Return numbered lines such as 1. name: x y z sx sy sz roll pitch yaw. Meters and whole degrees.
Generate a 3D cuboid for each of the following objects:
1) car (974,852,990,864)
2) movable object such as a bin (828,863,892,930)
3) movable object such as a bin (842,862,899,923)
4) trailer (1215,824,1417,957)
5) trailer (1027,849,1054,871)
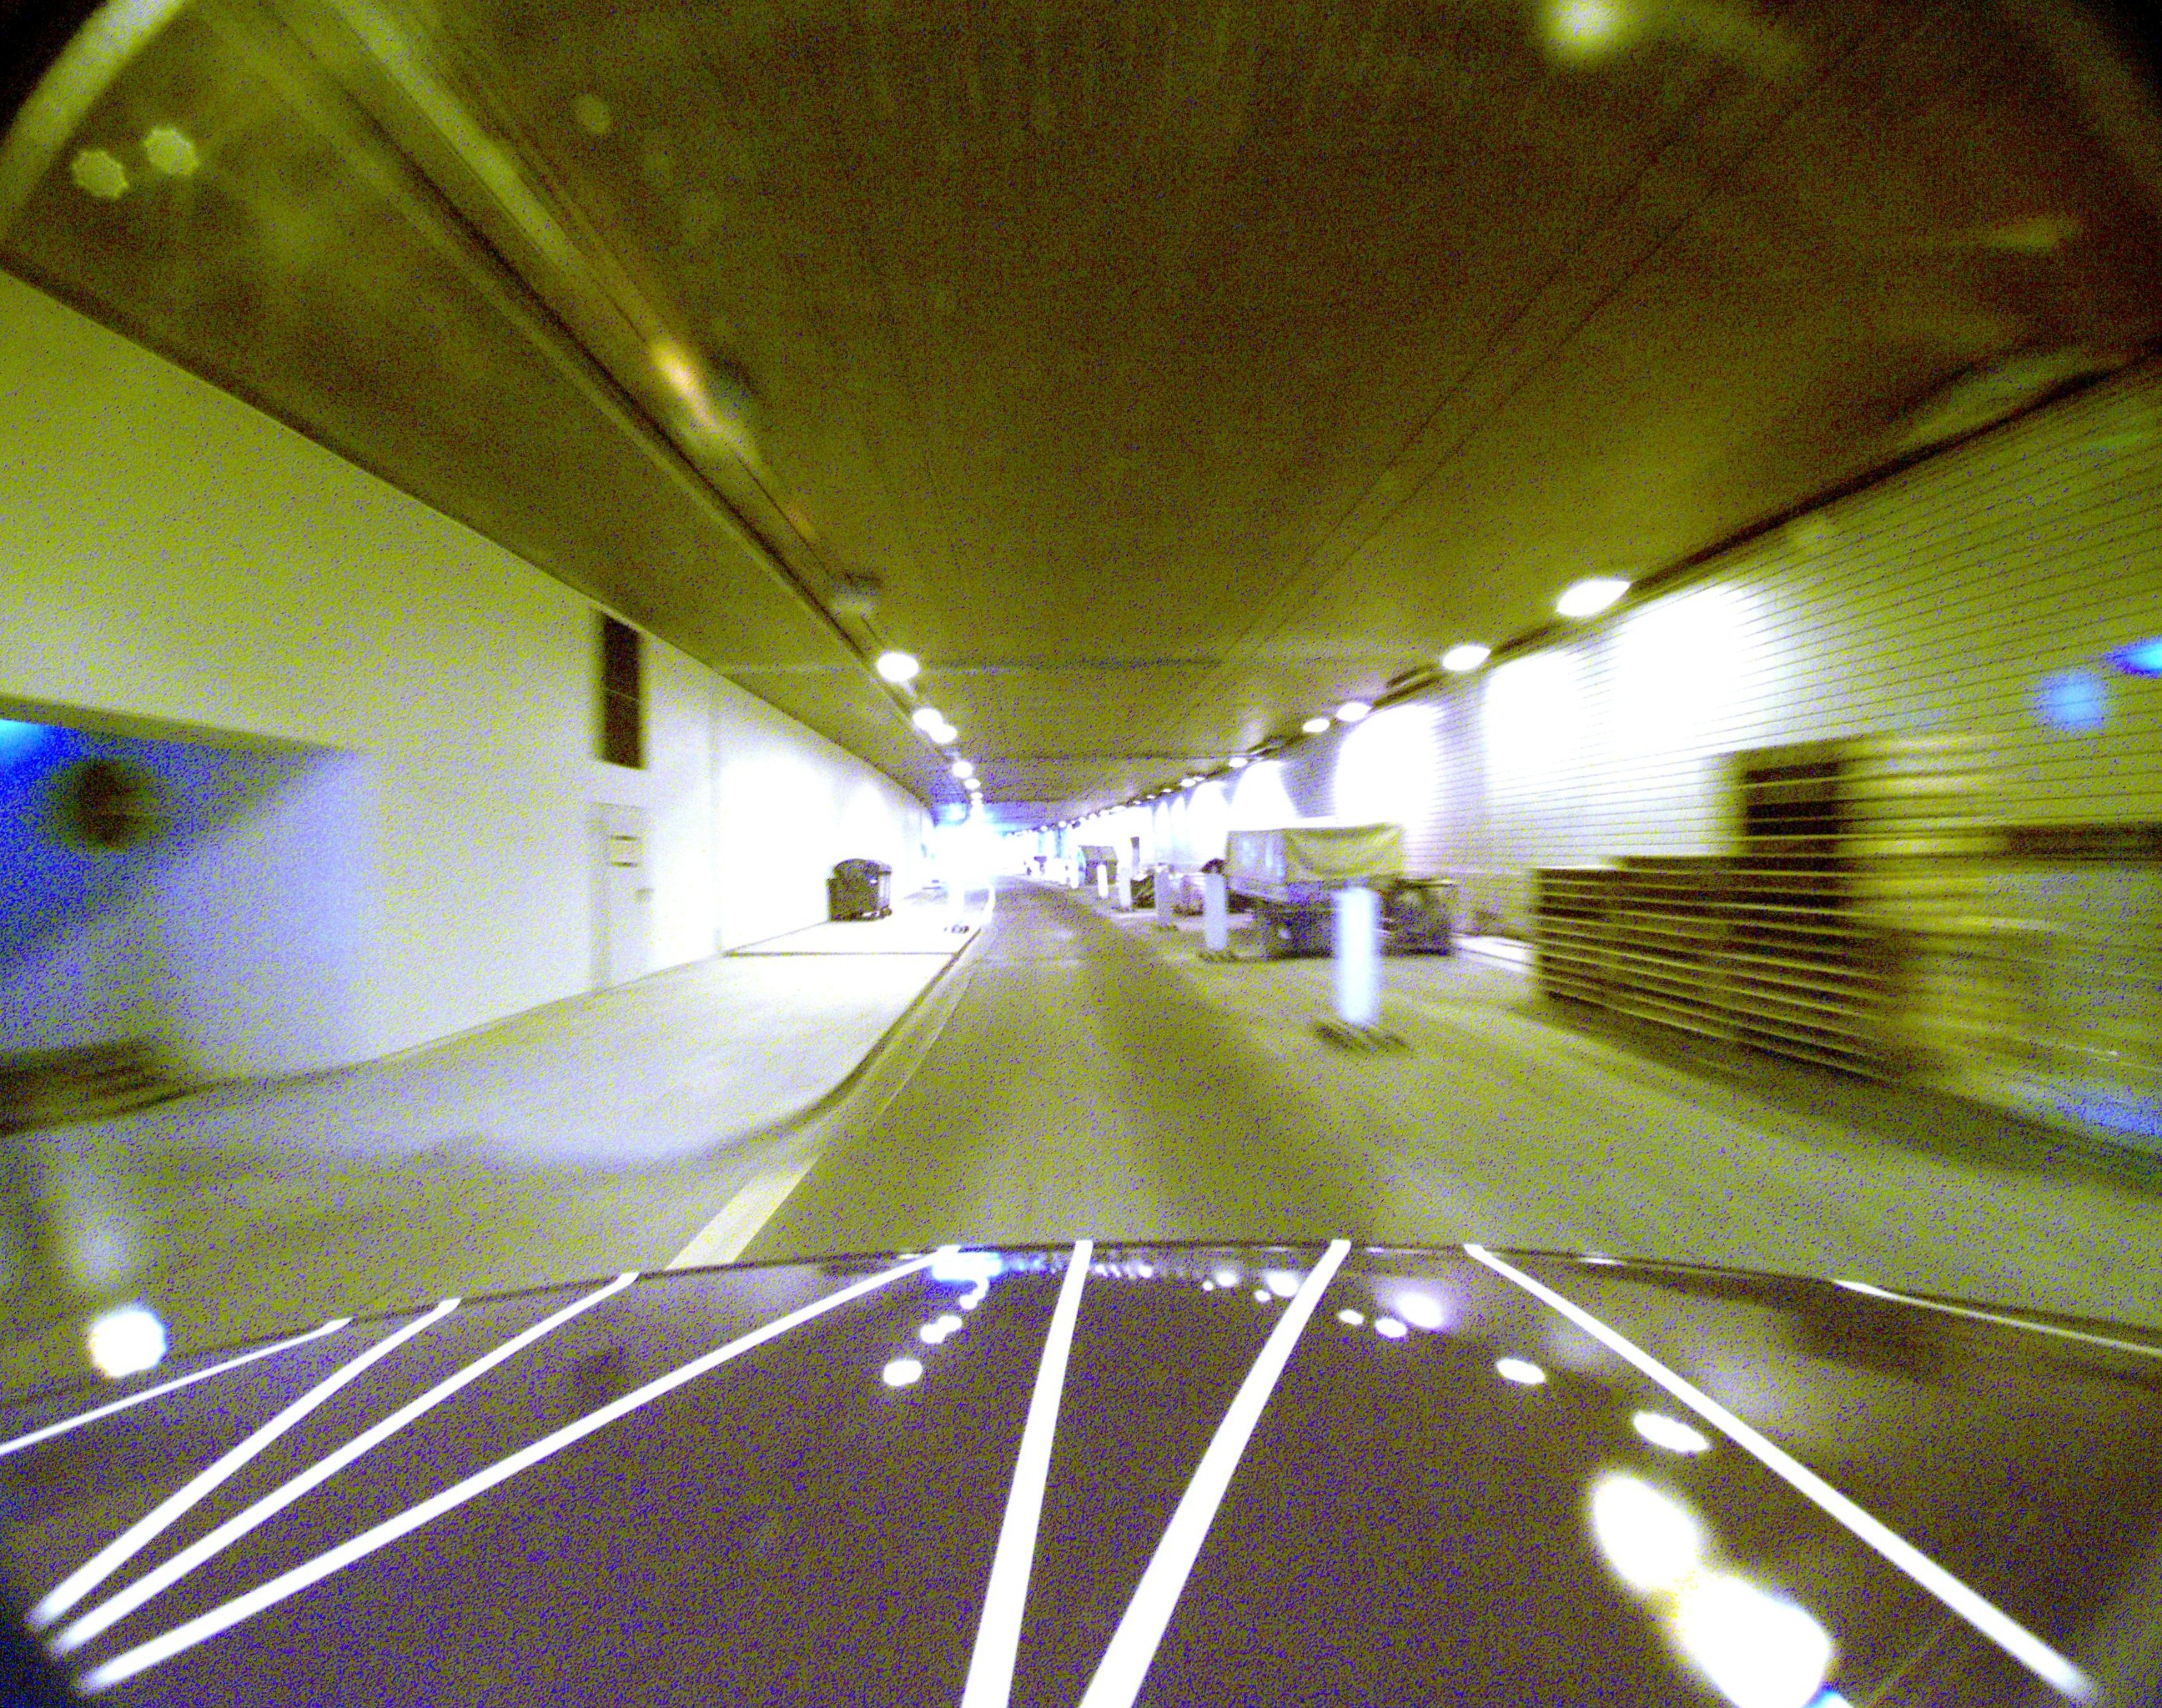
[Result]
1. car: -14.889 0.539 114.188 2.000 1.743 3.995 -2 1 -12
2. movable object such as a bin: -5.120 0.962 17.731 1.149 1.437 1.363 -2 1 -5
3. movable object such as a bin: -5.286 0.946 19.191 1.101 1.437 1.321 -2 1 -5
4. trailer: 3.998 0.541 13.577 2.215 2.002 3.464 -2 1 -6
5. trailer: -3.484 0.522 65.122 1.645 1.781 3.118 -2 1 -14
